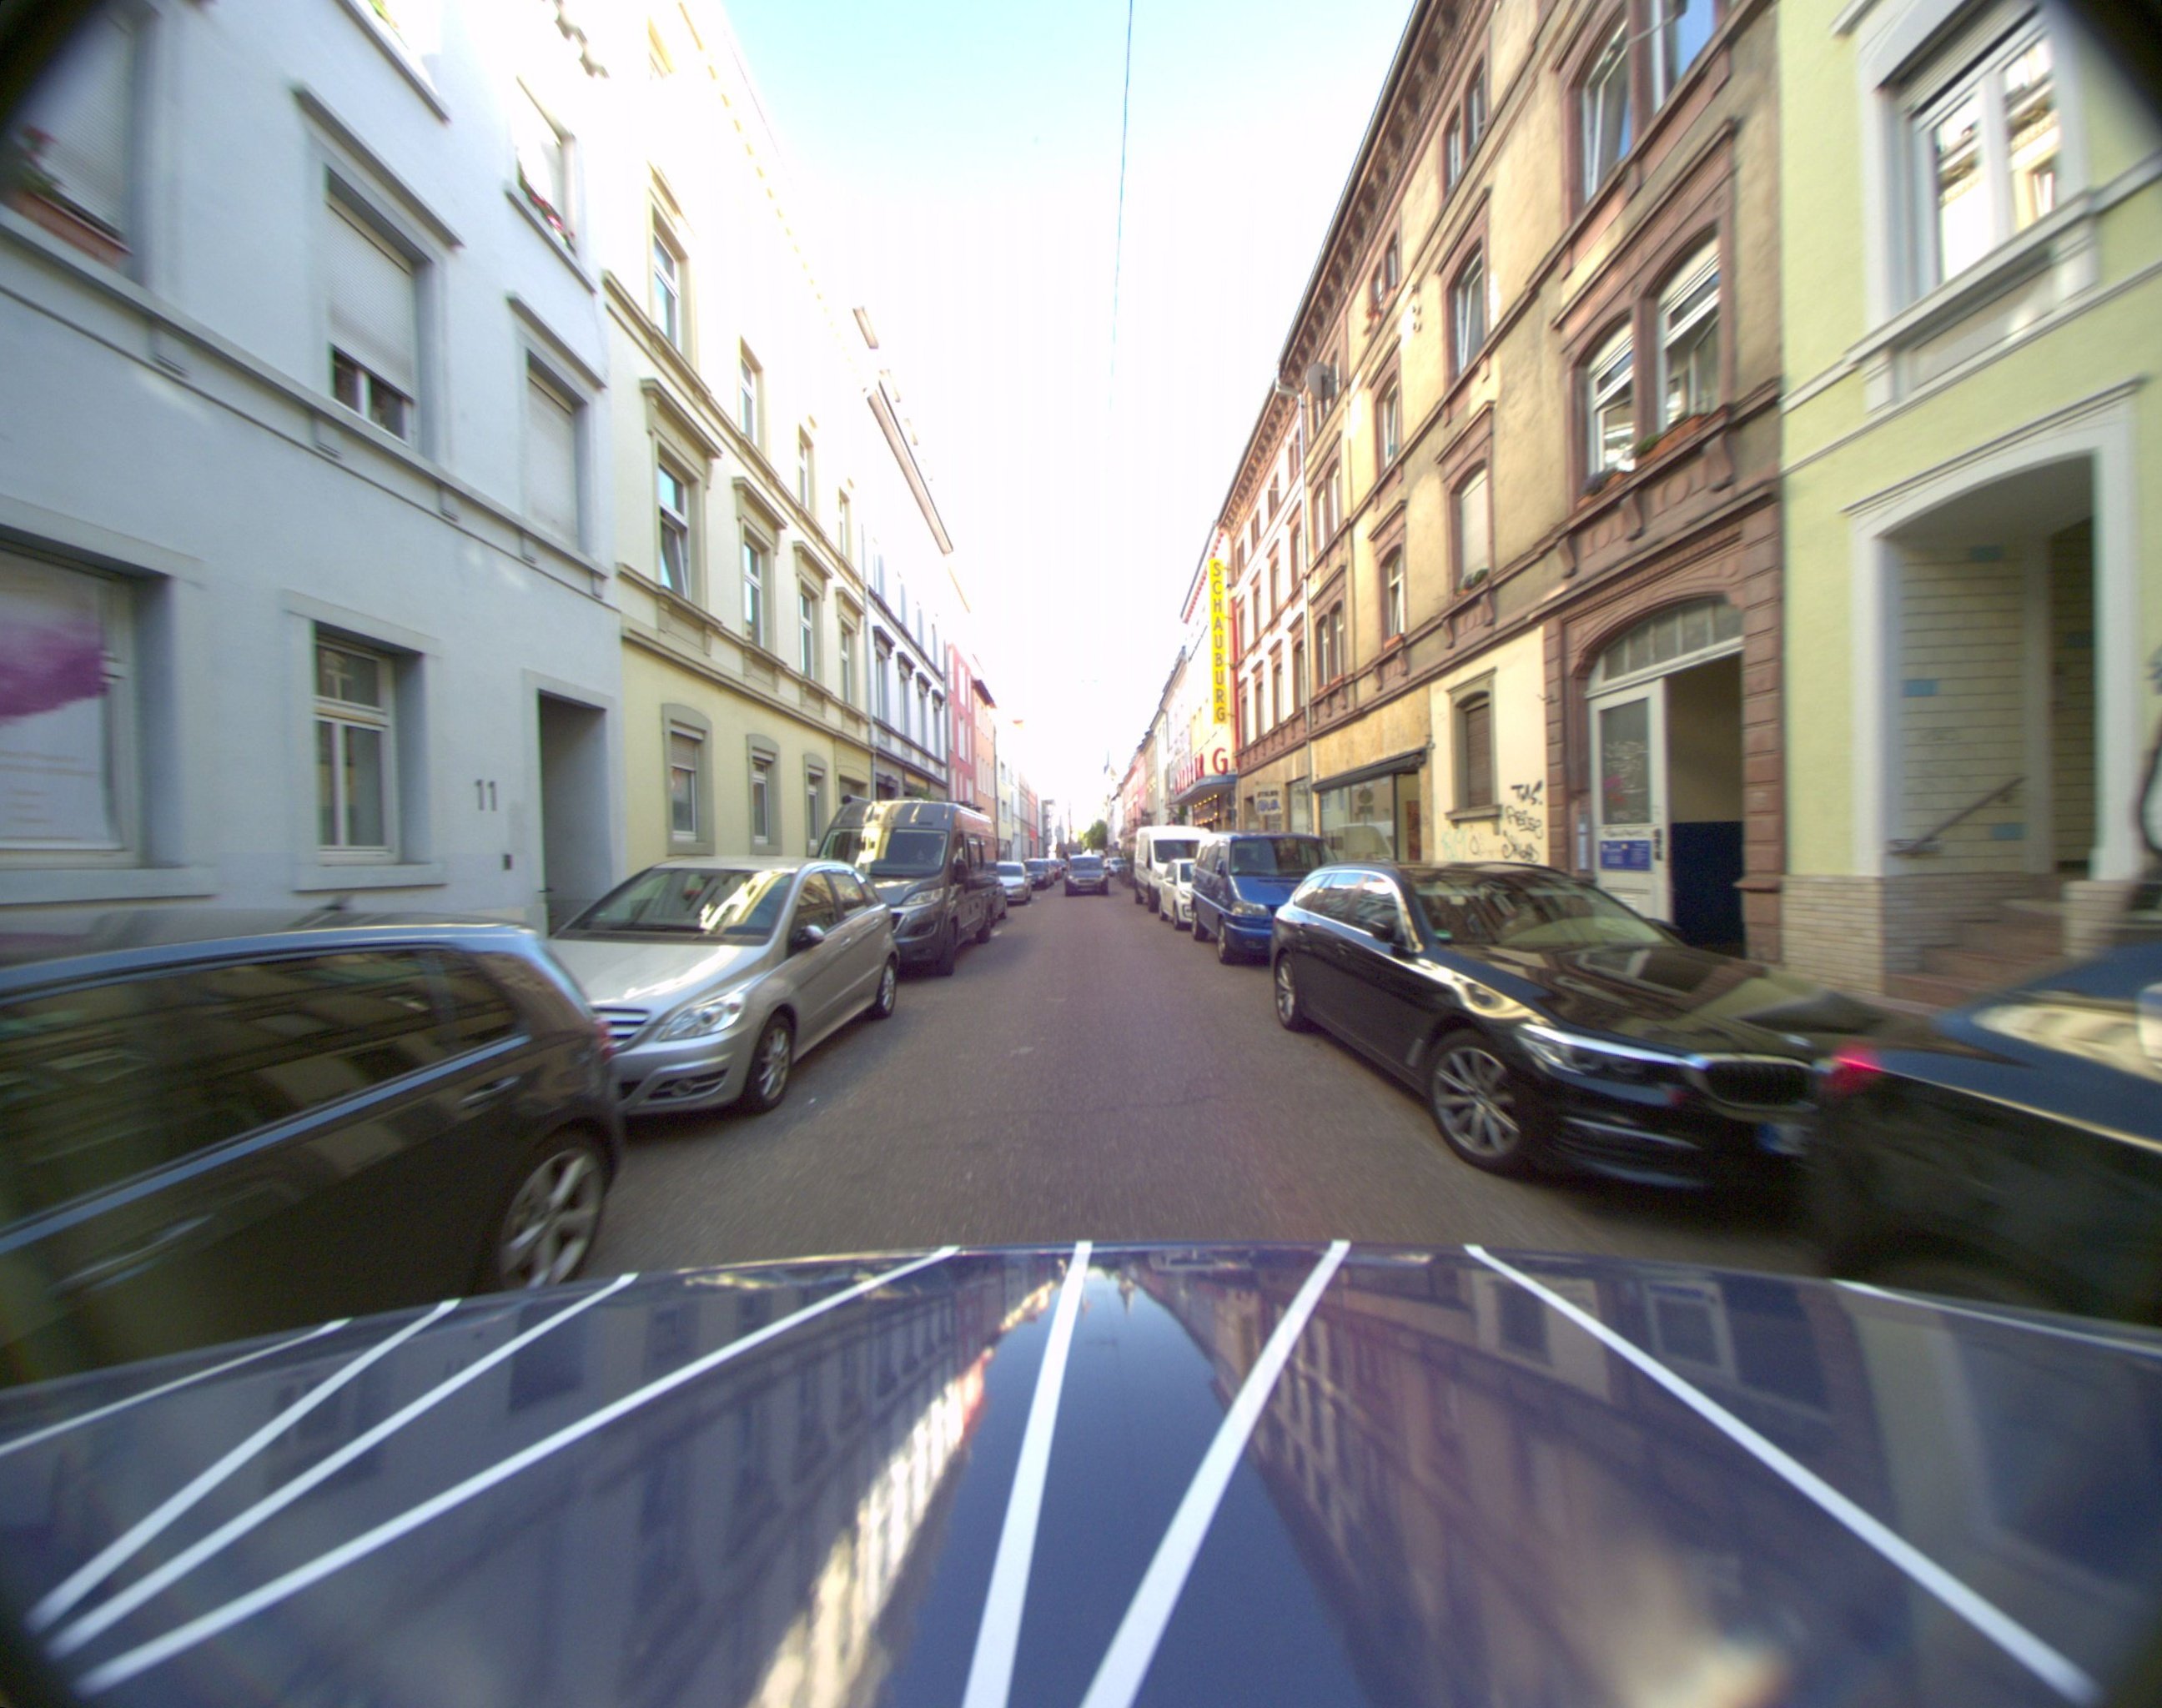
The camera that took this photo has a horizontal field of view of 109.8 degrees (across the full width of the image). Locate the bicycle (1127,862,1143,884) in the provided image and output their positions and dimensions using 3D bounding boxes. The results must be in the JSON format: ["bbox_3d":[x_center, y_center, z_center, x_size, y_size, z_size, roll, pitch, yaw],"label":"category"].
[{"bbox_3d":[2.898,0.996,40.797,0.547,1.087,1.881,-3,0,-3],"label":"bicycle"}]

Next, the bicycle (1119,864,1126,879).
[{"bbox_3d":[2.600,1.099,47.677,0.322,0.911,1.290,-1,0,1],"label":"bicycle"}]

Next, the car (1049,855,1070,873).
[{"bbox_3d":[-1.930,0.903,70.478,1.766,1.513,4.380,-2,0,0],"label":"car"}]

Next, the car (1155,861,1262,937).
[{"bbox_3d":[2.677,0.897,16.782,1.649,1.438,3.839,-1,0,-1],"label":"car"}]

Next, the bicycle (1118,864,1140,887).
[{"bbox_3d":[2.341,1.043,37.272,0.462,1.041,1.748,-3,0,-15],"label":"bicycle"}]

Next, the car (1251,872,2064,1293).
[{"bbox_3d":[2.649,0.887,5.110,1.867,1.431,4.644,-1,0,-1],"label":"car"}]

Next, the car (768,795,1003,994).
[{"bbox_3d":[-2.704,0.492,12.398,2.180,2.411,6.309,0,0,0],"label":"car"}]

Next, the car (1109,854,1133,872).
[{"bbox_3d":[3.418,0.734,65.773,1.794,1.443,4.000,-1,0,0],"label":"car"}]

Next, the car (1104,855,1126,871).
[{"bbox_3d":[3.170,0.784,70.787,1.792,1.454,4.199,-1,0,-1],"label":"car"}]

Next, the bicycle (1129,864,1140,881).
[{"bbox_3d":[3.139,1.092,44.775,0.555,0.938,1.571,-1,0,1],"label":"bicycle"}]

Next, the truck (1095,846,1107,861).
[{"bbox_3d":[4.510,-0.219,171.806,2.524,3.271,6.642,-1,0,1],"label":"truck"}]

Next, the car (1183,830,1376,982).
[{"bbox_3d":[2.820,0.660,11.905,1.832,1.881,4.613,1,0,1],"label":"car"}]

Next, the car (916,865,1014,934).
[{"bbox_3d":[-2.787,1.055,19.157,1.752,1.436,4.172,-2,0,1],"label":"car"}]

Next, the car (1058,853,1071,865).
[{"bbox_3d":[-2.157,0.698,101.281,1.644,1.528,3.842,-1,0,0],"label":"car"}]

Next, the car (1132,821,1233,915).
[{"bbox_3d":[2.832,0.366,22.681,2.174,2.437,5.921,0,0,-1],"label":"car"}]

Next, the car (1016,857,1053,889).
[{"bbox_3d":[-2.368,0.960,39.535,1.606,1.530,3.450,1,0,2],"label":"car"}]

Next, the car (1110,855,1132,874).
[{"bbox_3d":[3.225,0.784,60.278,1.684,1.446,4.035,0,0,4],"label":"car"}]

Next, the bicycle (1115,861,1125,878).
[{"bbox_3d":[2.542,0.995,49.280,0.500,1.099,1.830,-2,0,0],"label":"bicycle"}]

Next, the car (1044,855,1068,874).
[{"bbox_3d":[-2.121,0.875,64.954,1.794,1.542,4.000,-1,0,1],"label":"car"}]

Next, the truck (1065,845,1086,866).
[{"bbox_3d":[-0.753,0.240,109.648,2.819,2.735,7.677,-3,0,0],"label":"truck"}]

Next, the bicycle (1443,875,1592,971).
[{"bbox_3d":[5.604,0.840,9.938,0.757,1.015,2.029,-5,0,2],"label":"bicycle"}]

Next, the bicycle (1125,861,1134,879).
[{"bbox_3d":[3.127,1.018,49.327,0.444,1.099,1.931,-2,0,0],"label":"bicycle"}]

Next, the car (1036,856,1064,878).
[{"bbox_3d":[-2.201,0.887,54.859,1.701,1.514,3.980,0,0,2],"label":"car"}]

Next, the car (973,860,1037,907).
[{"bbox_3d":[-2.637,0.993,27.340,1.791,1.446,4.547,2,0,0],"label":"car"}]

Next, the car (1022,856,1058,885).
[{"bbox_3d":[-2.348,0.915,44.402,1.750,1.547,4.171,-1,0,2],"label":"car"}]

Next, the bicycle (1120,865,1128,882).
[{"bbox_3d":[2.526,1.129,44.432,0.391,0.911,1.393,-1,0,1],"label":"bicycle"}]

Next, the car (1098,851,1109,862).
[{"bbox_3d":[4.213,0.418,143.164,1.998,2.002,4.258,-1,0,1],"label":"car"}]

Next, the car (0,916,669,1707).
[{"bbox_3d":[-2.714,1.024,1.215,1.750,1.477,4.243,-1,0,0],"label":"car"}]

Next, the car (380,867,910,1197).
[{"bbox_3d":[-2.725,0.950,6.077,1.698,1.598,4.374,1,0,0],"label":"car"}]

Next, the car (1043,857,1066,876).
[{"bbox_3d":[-2.071,0.949,59.435,1.692,1.444,4.193,0,0,-1],"label":"car"}]

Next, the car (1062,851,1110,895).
[{"bbox_3d":[0.222,0.724,31.341,1.832,1.650,4.213,-1,0,1],"label":"car"}]
